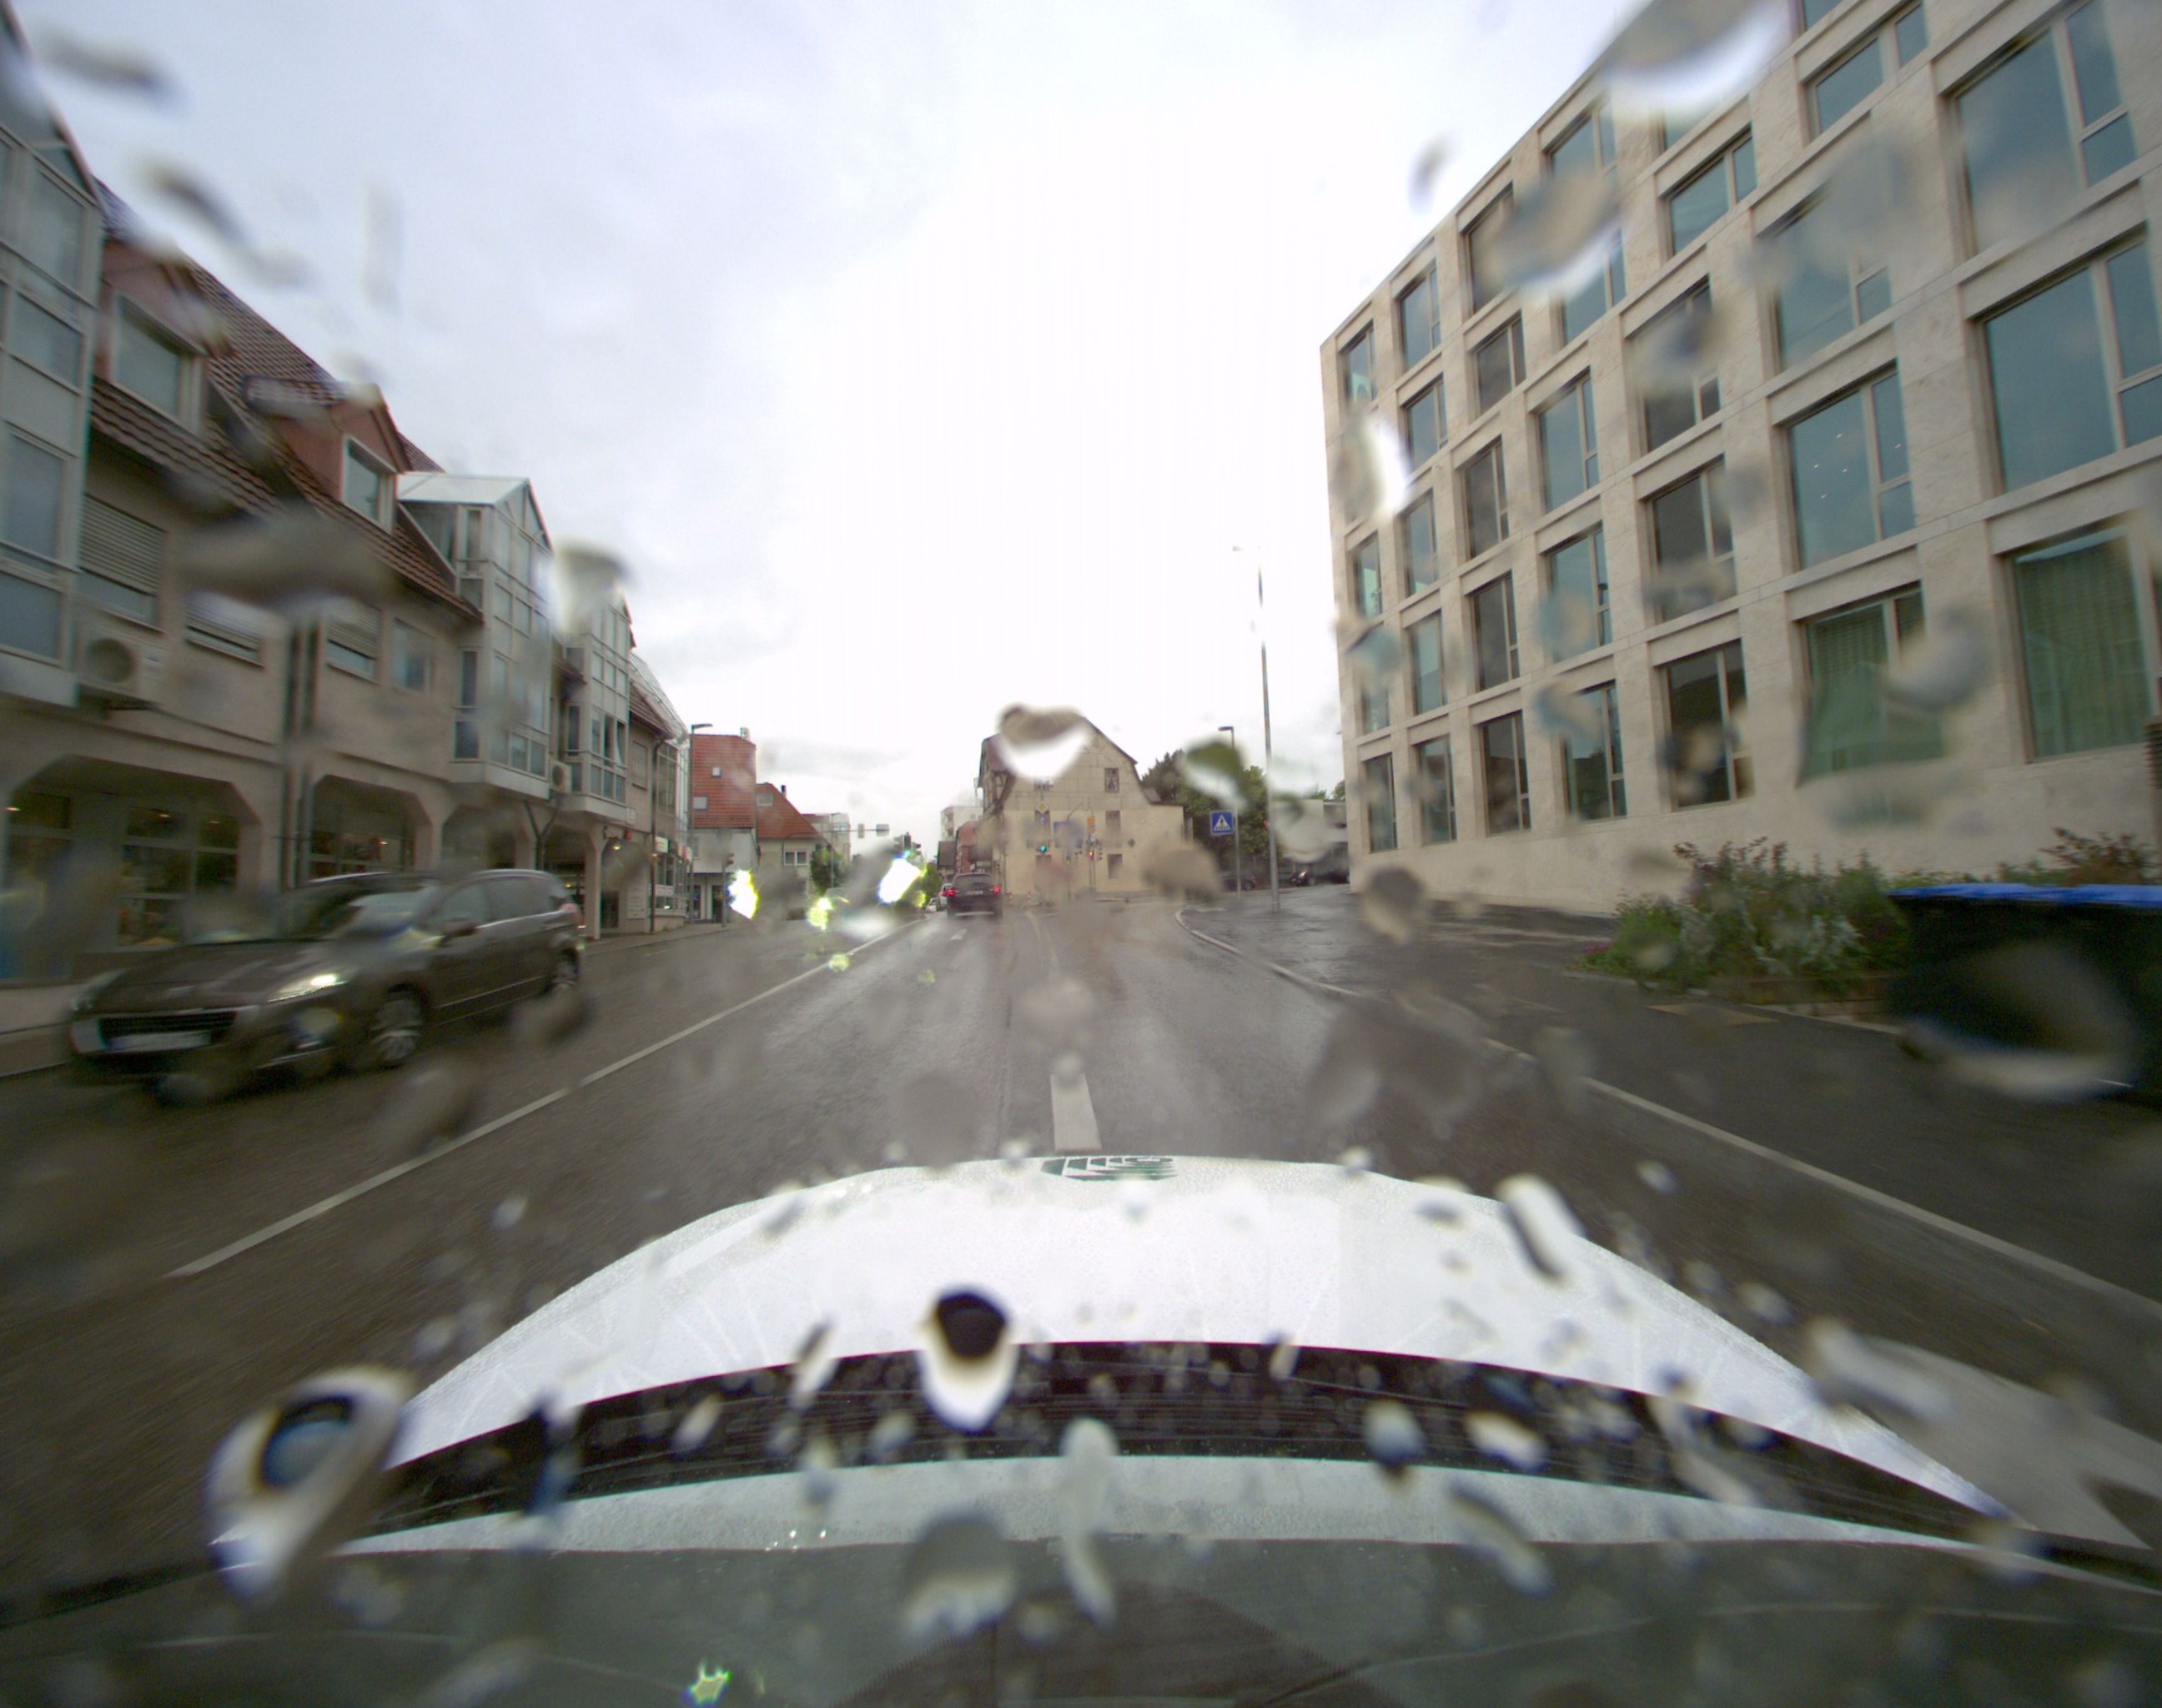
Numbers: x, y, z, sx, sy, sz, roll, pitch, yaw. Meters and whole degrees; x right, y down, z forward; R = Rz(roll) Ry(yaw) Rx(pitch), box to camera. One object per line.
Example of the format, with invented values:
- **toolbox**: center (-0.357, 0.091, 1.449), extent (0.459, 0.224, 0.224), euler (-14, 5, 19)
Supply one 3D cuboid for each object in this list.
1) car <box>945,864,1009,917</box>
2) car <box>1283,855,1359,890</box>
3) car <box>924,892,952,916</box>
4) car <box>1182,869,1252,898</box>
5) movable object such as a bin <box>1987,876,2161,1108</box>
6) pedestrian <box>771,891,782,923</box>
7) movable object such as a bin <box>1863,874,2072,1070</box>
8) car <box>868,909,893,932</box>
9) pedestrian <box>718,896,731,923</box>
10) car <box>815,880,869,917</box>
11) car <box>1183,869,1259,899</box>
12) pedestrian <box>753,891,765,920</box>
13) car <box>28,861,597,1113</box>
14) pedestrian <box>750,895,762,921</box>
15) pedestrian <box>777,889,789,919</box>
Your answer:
- **car**: center (-3.461, 1.169, 27.708), extent (1.942, 1.566, 4.408), euler (-1, 0, -6)
- **car**: center (15.583, 1.199, 52.886), extent (4.312, 1.816, 1.768), euler (-3, -5, -17)
- **car**: center (-10.401, 3.589, 59.469), extent (1.887, 1.467, 3.986), euler (-3, 0, -10)
- **car**: center (9.038, 1.972, 54.325), extent (4.182, 1.519, 1.768), euler (-3, -5, -17)
- **movable object such as a bin**: center (5.257, 0.660, 4.157), extent (0.594, 1.062, 0.578), euler (-2, 0, -3)
- **pedestrian**: center (-18.638, 3.242, 49.828), extent (0.536, 1.871, 0.630), euler (-3, -2, -19)
- **movable object such as a bin**: center (5.274, 0.671, 4.875), extent (0.594, 1.062, 0.578), euler (-2, 0, -3)
- **car**: center (-26.014, 8.637, 105.923), extent (2.589, 2.626, 6.530), euler (-4, -2, -11)
- **pedestrian**: center (-21.255, 3.310, 48.614), extent (0.594, 1.559, 0.630), euler (-3, -2, -19)
- **car**: center (-11.131, 2.042, 38.152), extent (1.887, 1.467, 3.986), euler (-3, 0, -10)
- **car**: center (8.743, 1.883, 50.923), extent (4.314, 1.505, 1.767), euler (-3, -5, -18)
- **pedestrian**: center (-20.357, 3.243, 51.452), extent (0.594, 1.774, 0.630), euler (-3, -2, -19)
- **car**: center (-6.504, 0.913, 7.713), extent (1.781, 1.630, 4.203), euler (-2, 0, -9)
- **pedestrian**: center (-20.010, 3.331, 50.131), extent (0.594, 1.559, 0.630), euler (-3, -2, -19)
- **pedestrian**: center (-19.069, 3.212, 52.159), extent (0.605, 1.867, 0.743), euler (-3, -2, -19)
